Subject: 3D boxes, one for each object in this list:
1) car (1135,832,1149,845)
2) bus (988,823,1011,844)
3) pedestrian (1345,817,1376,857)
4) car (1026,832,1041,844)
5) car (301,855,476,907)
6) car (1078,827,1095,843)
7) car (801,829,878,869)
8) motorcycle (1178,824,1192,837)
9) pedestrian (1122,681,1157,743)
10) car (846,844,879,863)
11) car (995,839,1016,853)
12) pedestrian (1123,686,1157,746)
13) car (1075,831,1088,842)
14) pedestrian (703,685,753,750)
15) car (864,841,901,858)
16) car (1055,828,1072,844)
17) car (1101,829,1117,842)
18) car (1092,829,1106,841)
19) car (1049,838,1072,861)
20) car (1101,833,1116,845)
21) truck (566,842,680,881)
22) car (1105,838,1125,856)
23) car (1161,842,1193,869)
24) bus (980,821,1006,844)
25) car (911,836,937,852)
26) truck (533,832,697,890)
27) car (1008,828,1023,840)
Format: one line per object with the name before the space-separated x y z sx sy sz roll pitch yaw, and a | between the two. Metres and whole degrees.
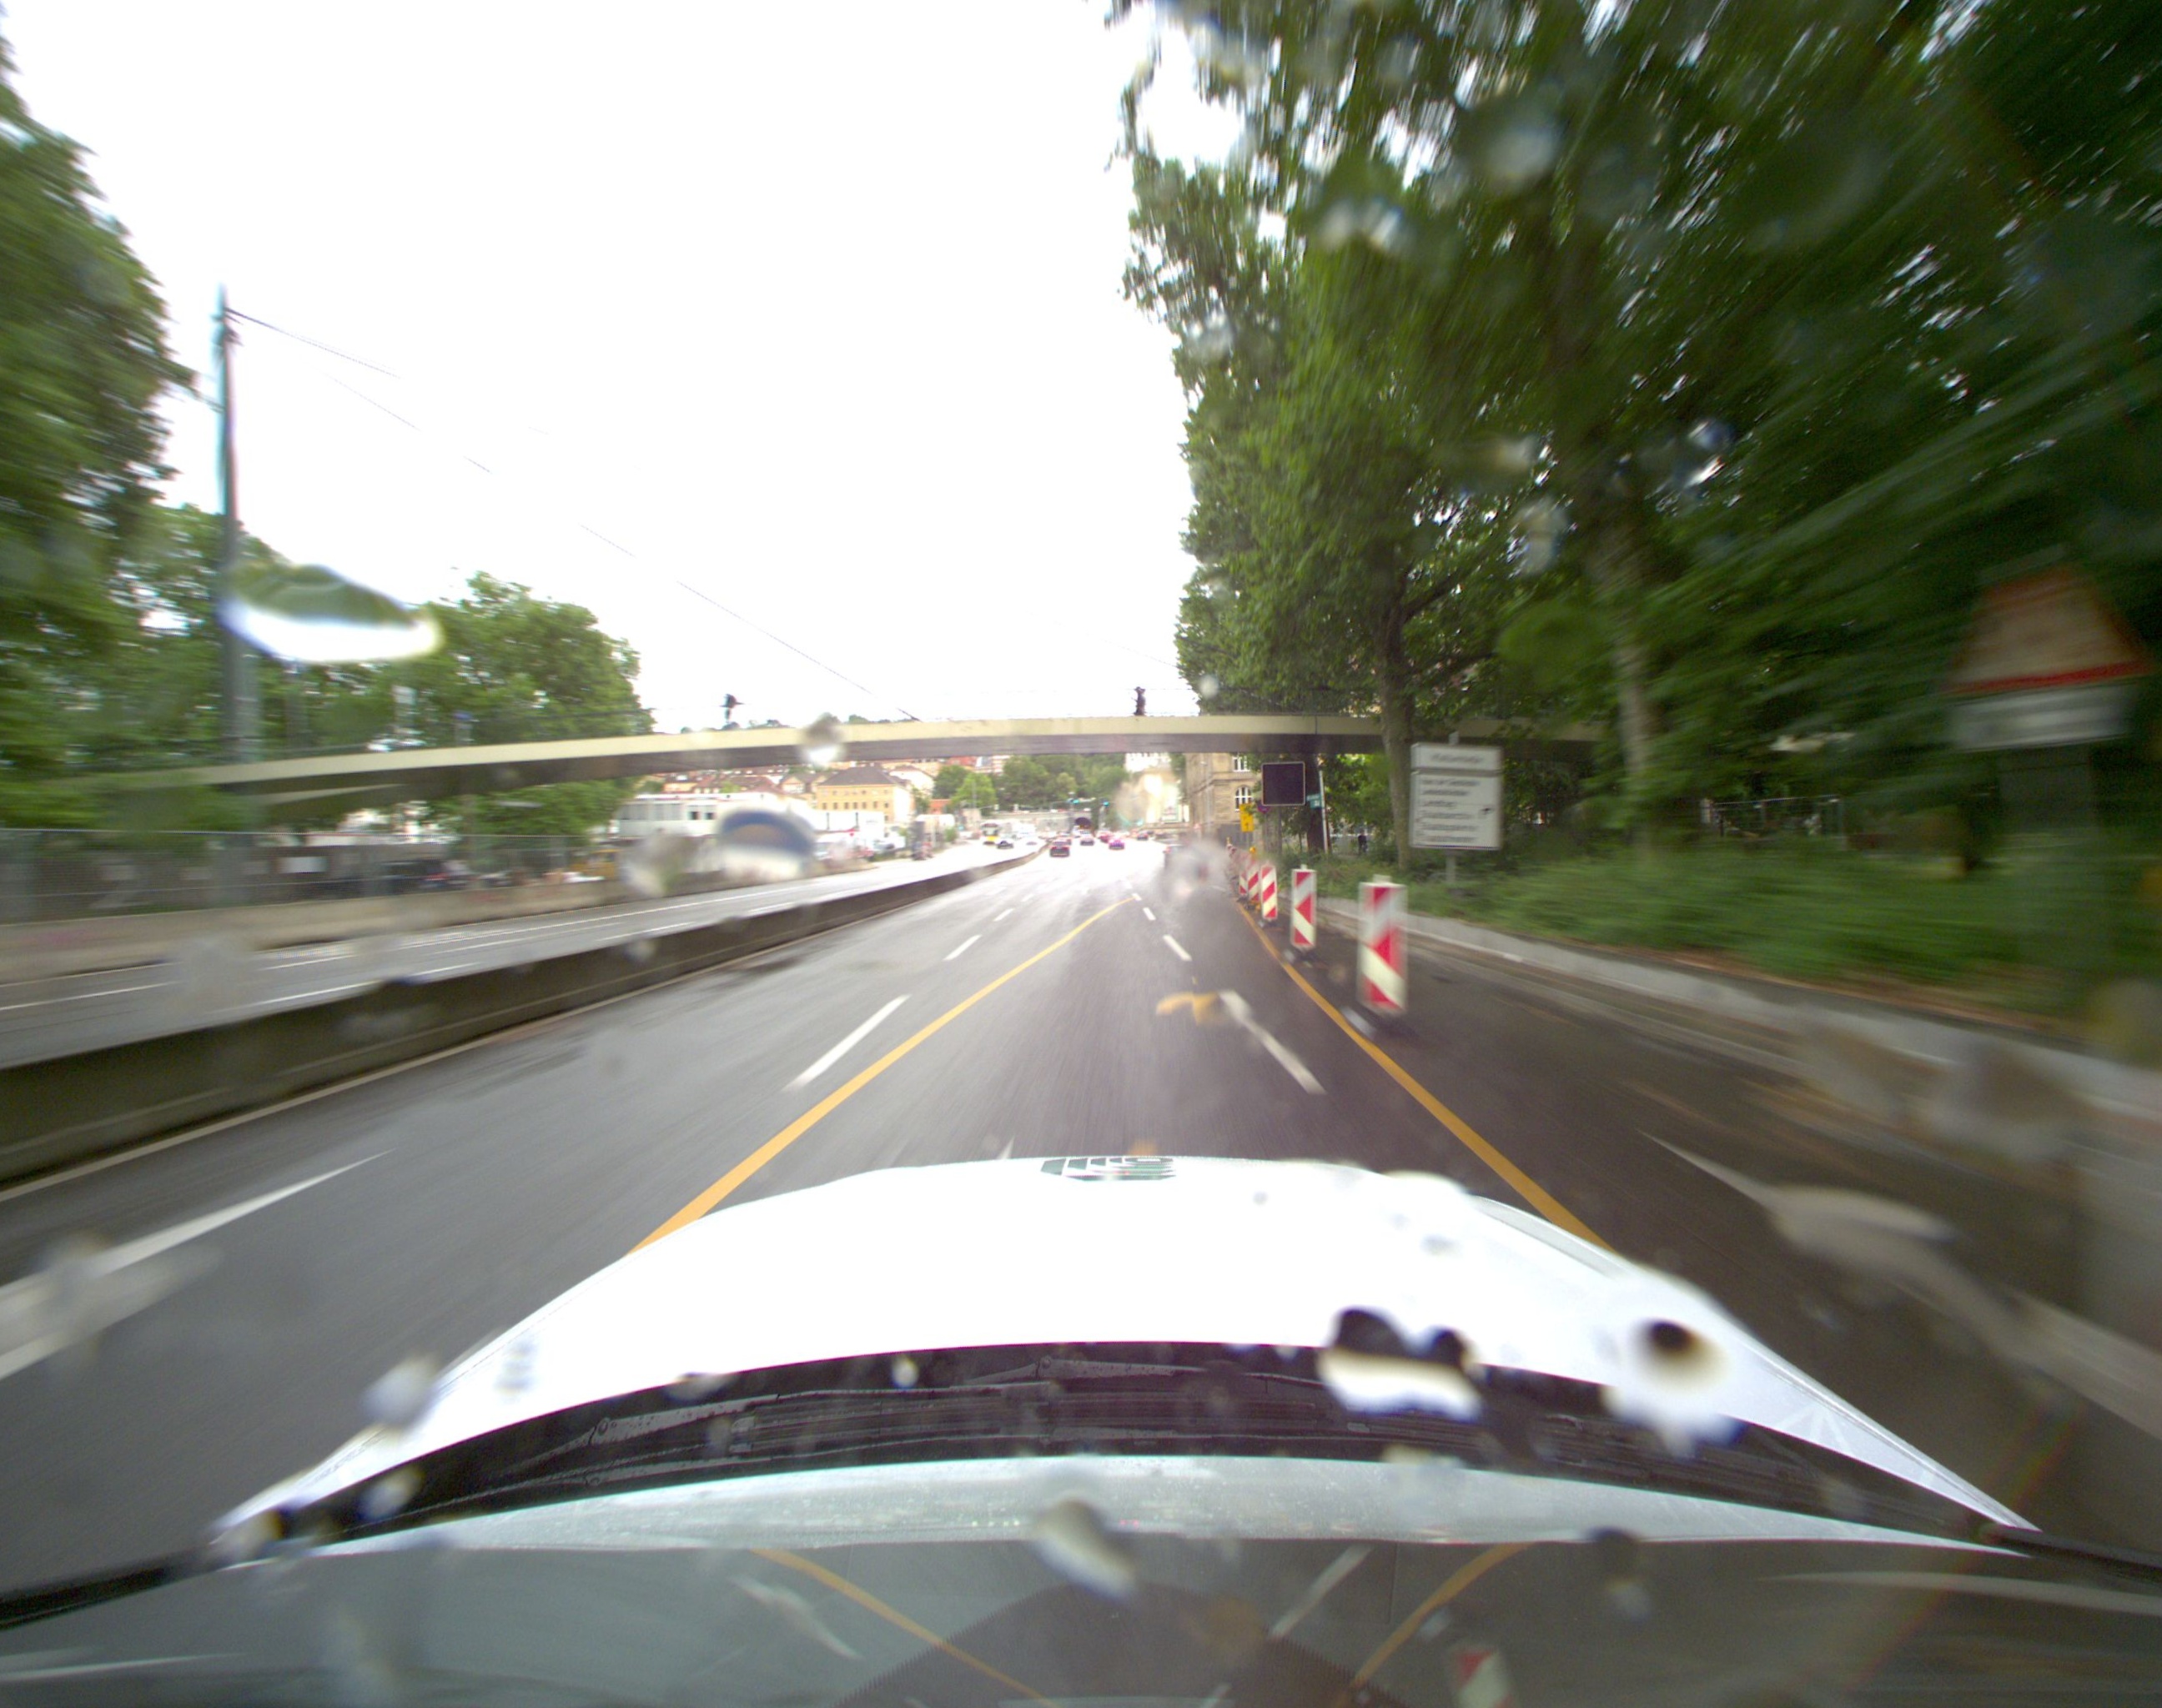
car | 10.255 -2.618 136.951 1.988 2.013 3.999 -1 1 -1
bus | -12.675 -3.141 127.343 2.695 3.151 9.148 -2 1 0
pedestrian | 14.361 -0.883 41.841 1.057 2.013 1.028 -3 1 -35
car | -6.577 -2.214 112.847 1.703 1.489 3.451 -2 0 1
car | -25.227 0.962 29.837 4.422 1.627 1.953 -2 0 -10
car | 0.748 -2.512 109.631 2.046 2.013 3.998 -2 0 -1
car | -18.597 -0.423 63.028 1.975 2.875 6.088 -3 0 26
motorcycle | 16.413 -3.738 128.527 1.788 2.013 3.817 -2 2 3
pedestrian | 2.175 -5.213 29.998 1.141 2.060 1.062 -2 0 7
car | -20.300 -0.062 75.821 1.755 1.565 4.179 -2 2 2
car | -9.161 -0.994 99.187 2.076 1.630 4.850 -2 1 -1
pedestrian | 2.270 -5.229 31.034 1.141 2.060 1.062 -2 0 7
car | -0.005 -3.377 159.833 2.287 2.013 4.600 -2 0 -2
pedestrian | -12.439 -4.790 28.735 1.141 2.060 1.062 -2 0 7
car | -19.652 -0.419 80.900 1.751 1.565 4.695 -2 0 9
car | -2.414 -2.371 110.668 1.986 2.013 4.002 -2 0 2
car | 4.094 -2.689 120.396 1.989 1.698 3.996 -2 0 -2
car | 3.205 -3.366 144.781 1.989 2.013 3.995 -2 0 -4
car | -1.856 -0.368 76.081 2.010 2.013 3.999 -2 0 0
car | 4.304 -2.245 126.716 1.989 1.698 3.996 -2 0 -2
truck | -26.655 0.429 47.571 5.238 2.013 2.160 -2 0 -5
car | 4.016 -0.792 95.710 2.098 2.050 3.999 -2 0 0
car | 5.835 0.062 49.705 1.803 1.527 4.008 -3 0 7
bus | -12.690 -3.048 118.311 2.797 3.184 8.805 -2 1 0
car | -18.211 -1.171 94.447 1.985 1.621 4.005 -2 2 3
truck | -22.572 0.328 39.726 6.272 2.452 2.687 -2 0 -8
car | -10.633 -3.272 132.604 2.034 1.662 4.929 -2 0 -2
